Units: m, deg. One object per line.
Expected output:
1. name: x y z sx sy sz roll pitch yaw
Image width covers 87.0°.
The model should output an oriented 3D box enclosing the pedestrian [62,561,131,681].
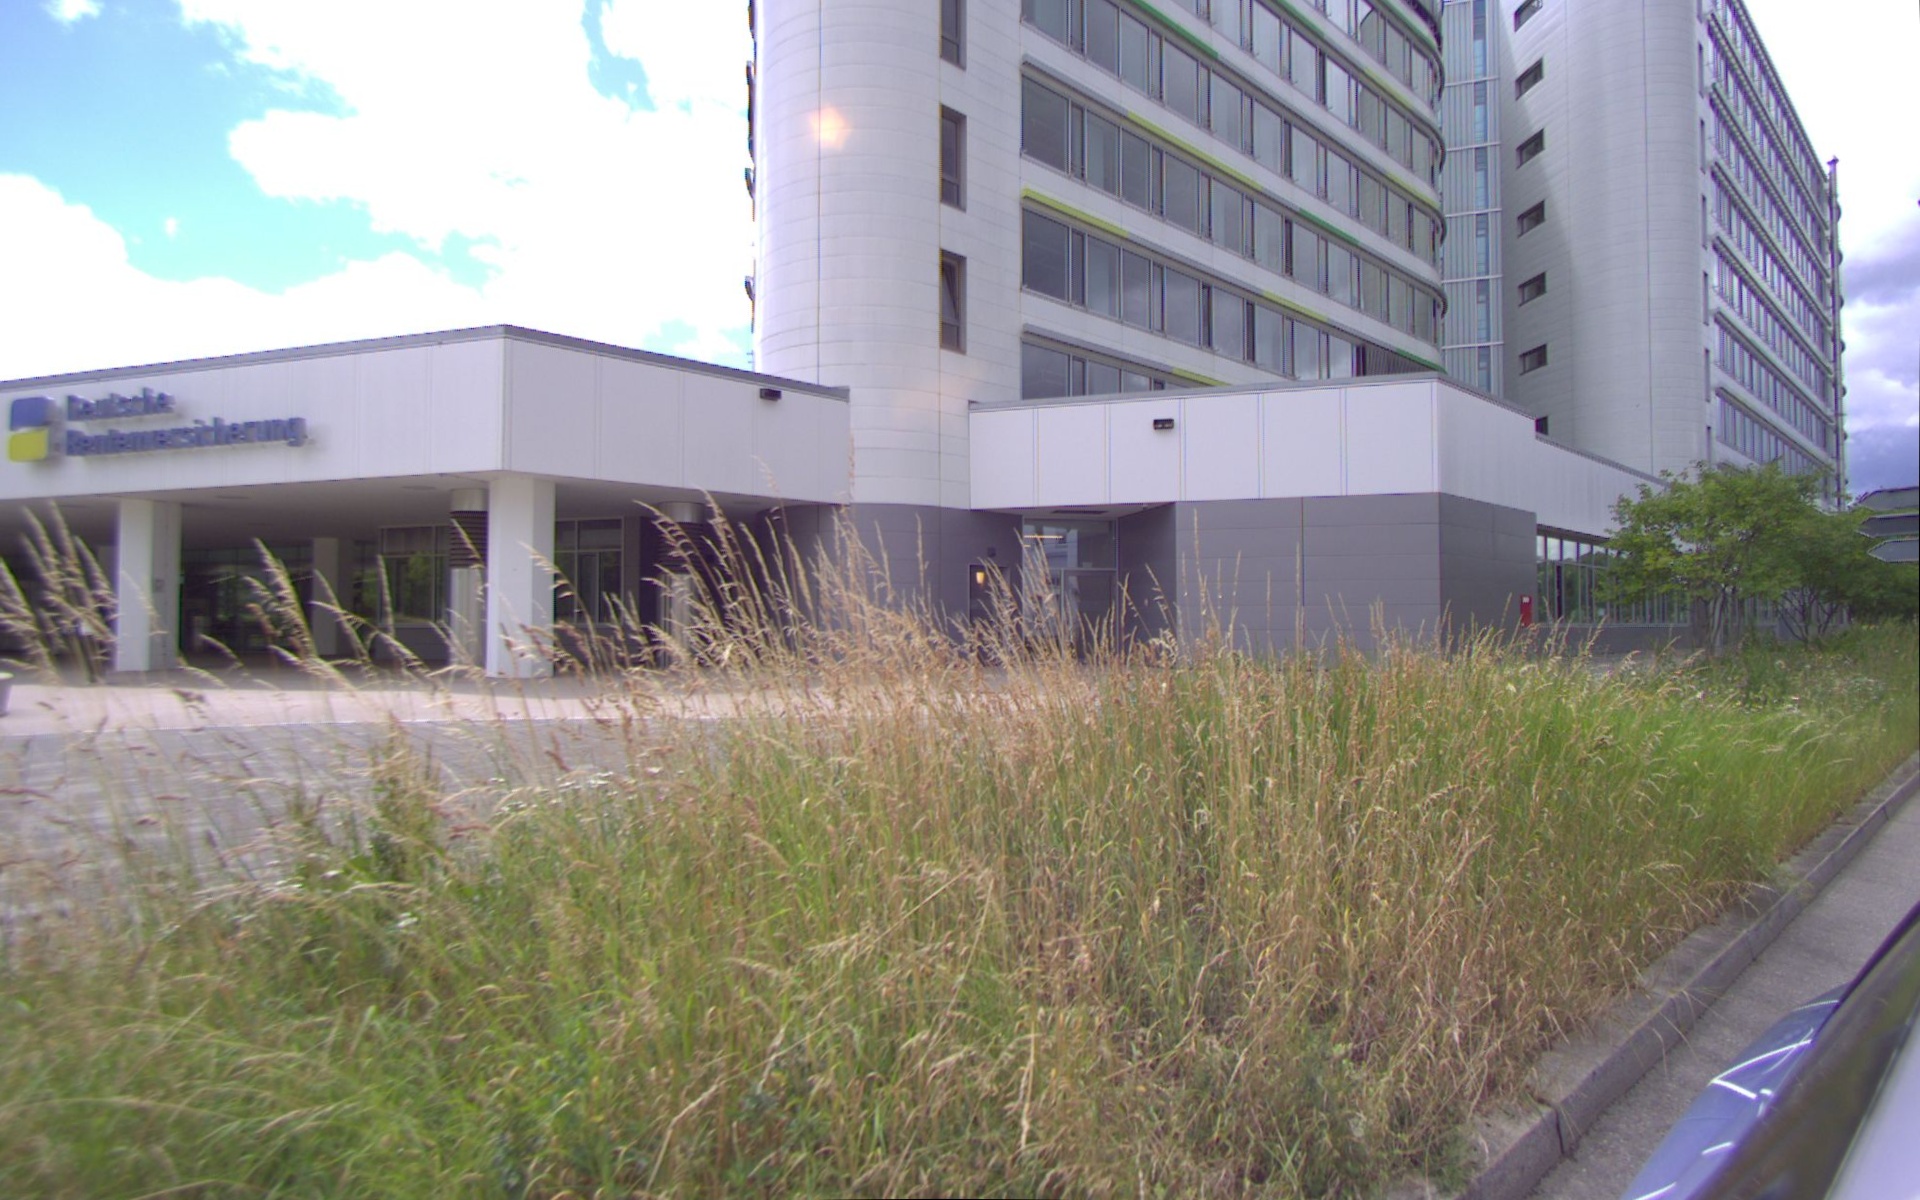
1. pedestrian: -14.962 0.346 17.550 0.596 2.039 0.695 0 1 0
